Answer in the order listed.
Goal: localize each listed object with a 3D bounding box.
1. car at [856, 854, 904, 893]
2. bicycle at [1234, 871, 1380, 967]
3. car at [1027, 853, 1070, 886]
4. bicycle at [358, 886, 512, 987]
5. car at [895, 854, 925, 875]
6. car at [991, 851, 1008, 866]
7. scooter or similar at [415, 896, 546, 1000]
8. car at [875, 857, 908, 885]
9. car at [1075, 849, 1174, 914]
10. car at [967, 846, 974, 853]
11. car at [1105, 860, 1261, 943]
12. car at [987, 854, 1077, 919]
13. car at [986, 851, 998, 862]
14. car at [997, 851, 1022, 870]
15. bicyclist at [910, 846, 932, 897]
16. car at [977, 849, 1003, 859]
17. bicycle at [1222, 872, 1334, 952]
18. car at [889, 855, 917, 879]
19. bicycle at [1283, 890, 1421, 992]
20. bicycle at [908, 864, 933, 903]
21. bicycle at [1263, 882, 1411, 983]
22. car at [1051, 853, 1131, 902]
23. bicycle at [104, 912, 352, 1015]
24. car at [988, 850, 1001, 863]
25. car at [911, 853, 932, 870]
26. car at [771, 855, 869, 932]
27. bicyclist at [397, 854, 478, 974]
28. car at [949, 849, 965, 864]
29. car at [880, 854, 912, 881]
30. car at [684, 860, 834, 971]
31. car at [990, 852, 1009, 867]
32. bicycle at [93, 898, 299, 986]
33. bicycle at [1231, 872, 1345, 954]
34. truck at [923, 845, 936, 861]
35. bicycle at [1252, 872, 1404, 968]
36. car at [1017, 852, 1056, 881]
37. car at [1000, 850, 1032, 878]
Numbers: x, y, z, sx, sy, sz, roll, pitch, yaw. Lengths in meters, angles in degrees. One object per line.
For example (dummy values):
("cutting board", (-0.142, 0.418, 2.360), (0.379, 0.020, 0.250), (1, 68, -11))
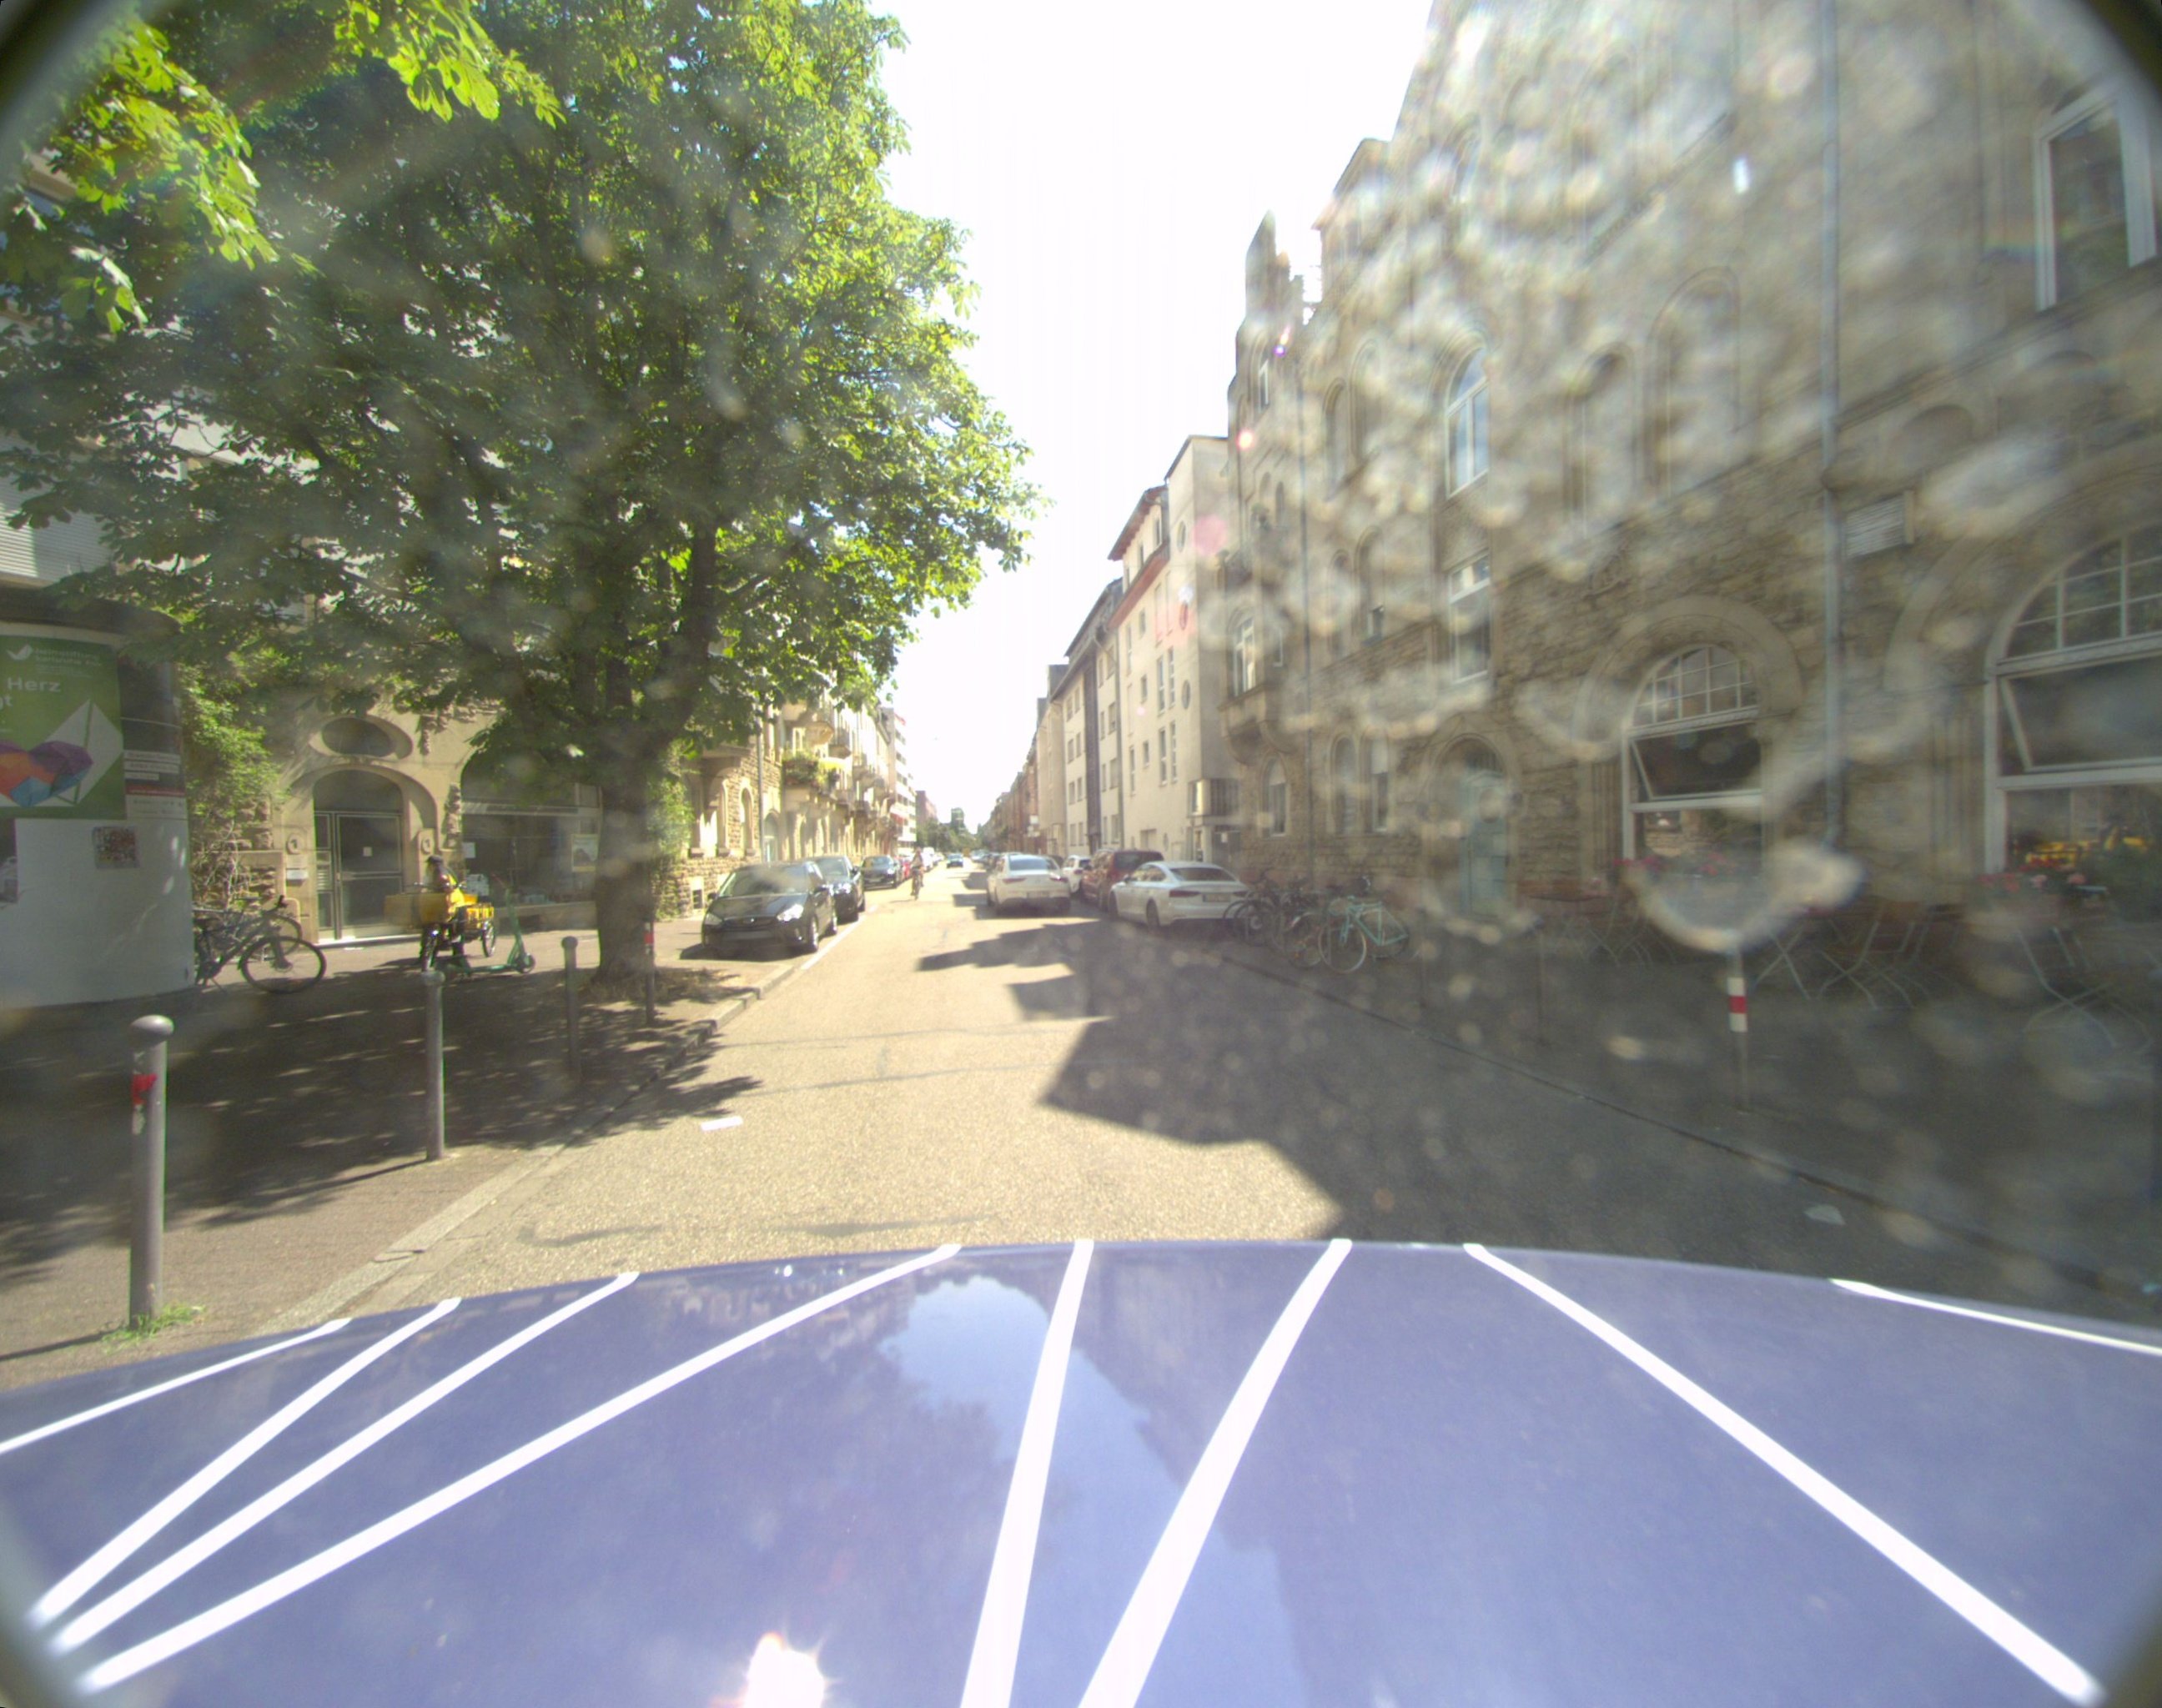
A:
("car", (-9.554, 0.872, 36.394), (1.839, 1.558, 4.600), (-4, 1, -11))
("bicycle", (3.196, 0.887, 10.718), (1.978, 1.123, 0.394), (-5, 2, -14))
("car", (-1.659, 0.734, 37.292), (1.572, 1.483, 3.890), (1, 1, -10))
("bicycle", (-9.360, 1.128, 11.171), (0.797, 1.162, 2.574), (-1, 1, -19))
("car", (-13.063, 0.765, 58.340), (1.721, 1.444, 4.593), (-3, 1, -7))
("car", (-8.854, 0.463, 82.584), (1.634, 1.421, 3.675), (3, 0, -8))
("scooter or similar", (-7.507, 1.141, 9.545), (0.442, 1.130, 1.187), (0, 1, 27))
("car", (-10.554, 0.908, 42.561), (1.517, 1.391, 3.968), (-4, 1, -11))
("car", (1.067, 0.679, 20.708), (1.678, 1.574, 4.048), (1, 1, -12))
("car", (-31.255, -1.334, 215.306), (1.786, 2.002, 3.997), (-2, 1, -6))
("car", (1.869, 0.848, 15.477), (1.707, 1.345, 4.509), (1, 1, -12))
("car", (-1.398, 0.760, 19.793), (1.848, 1.452, 4.357), (1, 1, -10))
("car", (-12.007, 0.372, 102.671), (1.451, 1.391, 3.523), (3, 0, -8))
("car", (-6.338, 0.525, 66.788), (1.634, 1.540, 3.848), (3, 0, -12))
("bicyclist", (-5.283, 0.570, 25.088), (0.645, 1.640, 0.622), (-1, 1, -8))
("car", (-14.302, 0.002, 119.331), (4.000, 1.422, 1.676), (-1, 1, -8))
("bicycle", (3.068, 0.886, 11.818), (1.708, 1.094, 0.292), (-3, 2, -14))
("car", (-12.287, 0.856, 52.609), (1.595, 1.444, 3.852), (-4, 1, -11))
("bicycle", (3.159, 0.989, 8.846), (1.530, 1.002, 0.366), (-4, 2, -14))
("bicycle", (-5.276, 0.934, 25.033), (0.671, 1.169, 2.092), (-1, 1, -8))
("bicycle", (3.134, 0.934, 9.290), (1.711, 1.039, 0.413), (-4, 2, -14))
("car", (0.224, 0.712, 25.446), (1.783, 1.451, 4.274), (1, 1, -12))
("bicycle", (-9.766, 1.231, 8.768), (1.906, 1.033, 0.633), (-1, 1, -9))
("car", (-11.154, 0.296, 97.812), (1.451, 1.633, 3.522), (3, 0, -10))
("car", (-14.609, 0.636, 69.729), (1.829, 1.424, 4.484), (-2, 1, -11))
("car", (-6.475, 0.888, 19.288), (1.742, 1.588, 4.342), (-4, 1, -12))
("bicyclist", (-9.234, 0.831, 10.934), (0.680, 1.638, 0.660), (-1, 1, -23))
("car", (-13.483, 0.274, 82.648), (1.626, 1.601, 3.594), (-1, 1, -9))
("car", (-11.567, 0.814, 47.711), (1.575, 1.444, 3.839), (-4, 1, -9))
("car", (-5.623, 0.962, 13.782), (1.669, 1.532, 4.173), (-4, 1, -12))
("car", (-8.281, 0.549, 77.278), (1.783, 1.421, 3.833), (3, 0, -8))
("bicycle", (-12.751, 1.224, 11.030), (0.548, 1.033, 1.840), (0, 1, 23))
("bicycle", (3.142, 0.880, 11.513), (1.708, 1.094, 0.292), (-4, 2, -14))
("truck", (-25.146, -0.180, 126.059), (1.871, 2.715, 4.503), (-1, 1, -9))
("bicycle", (3.353, 0.873, 10.303), (2.002, 1.123, 0.435), (-3, 2, -14))
("car", (-2.578, 0.671, 42.863), (1.662, 1.510, 4.666), (1, 1, -10))
("car", (-4.155, 0.582, 47.997), (1.609, 1.634, 3.973), (1, 1, -10))
